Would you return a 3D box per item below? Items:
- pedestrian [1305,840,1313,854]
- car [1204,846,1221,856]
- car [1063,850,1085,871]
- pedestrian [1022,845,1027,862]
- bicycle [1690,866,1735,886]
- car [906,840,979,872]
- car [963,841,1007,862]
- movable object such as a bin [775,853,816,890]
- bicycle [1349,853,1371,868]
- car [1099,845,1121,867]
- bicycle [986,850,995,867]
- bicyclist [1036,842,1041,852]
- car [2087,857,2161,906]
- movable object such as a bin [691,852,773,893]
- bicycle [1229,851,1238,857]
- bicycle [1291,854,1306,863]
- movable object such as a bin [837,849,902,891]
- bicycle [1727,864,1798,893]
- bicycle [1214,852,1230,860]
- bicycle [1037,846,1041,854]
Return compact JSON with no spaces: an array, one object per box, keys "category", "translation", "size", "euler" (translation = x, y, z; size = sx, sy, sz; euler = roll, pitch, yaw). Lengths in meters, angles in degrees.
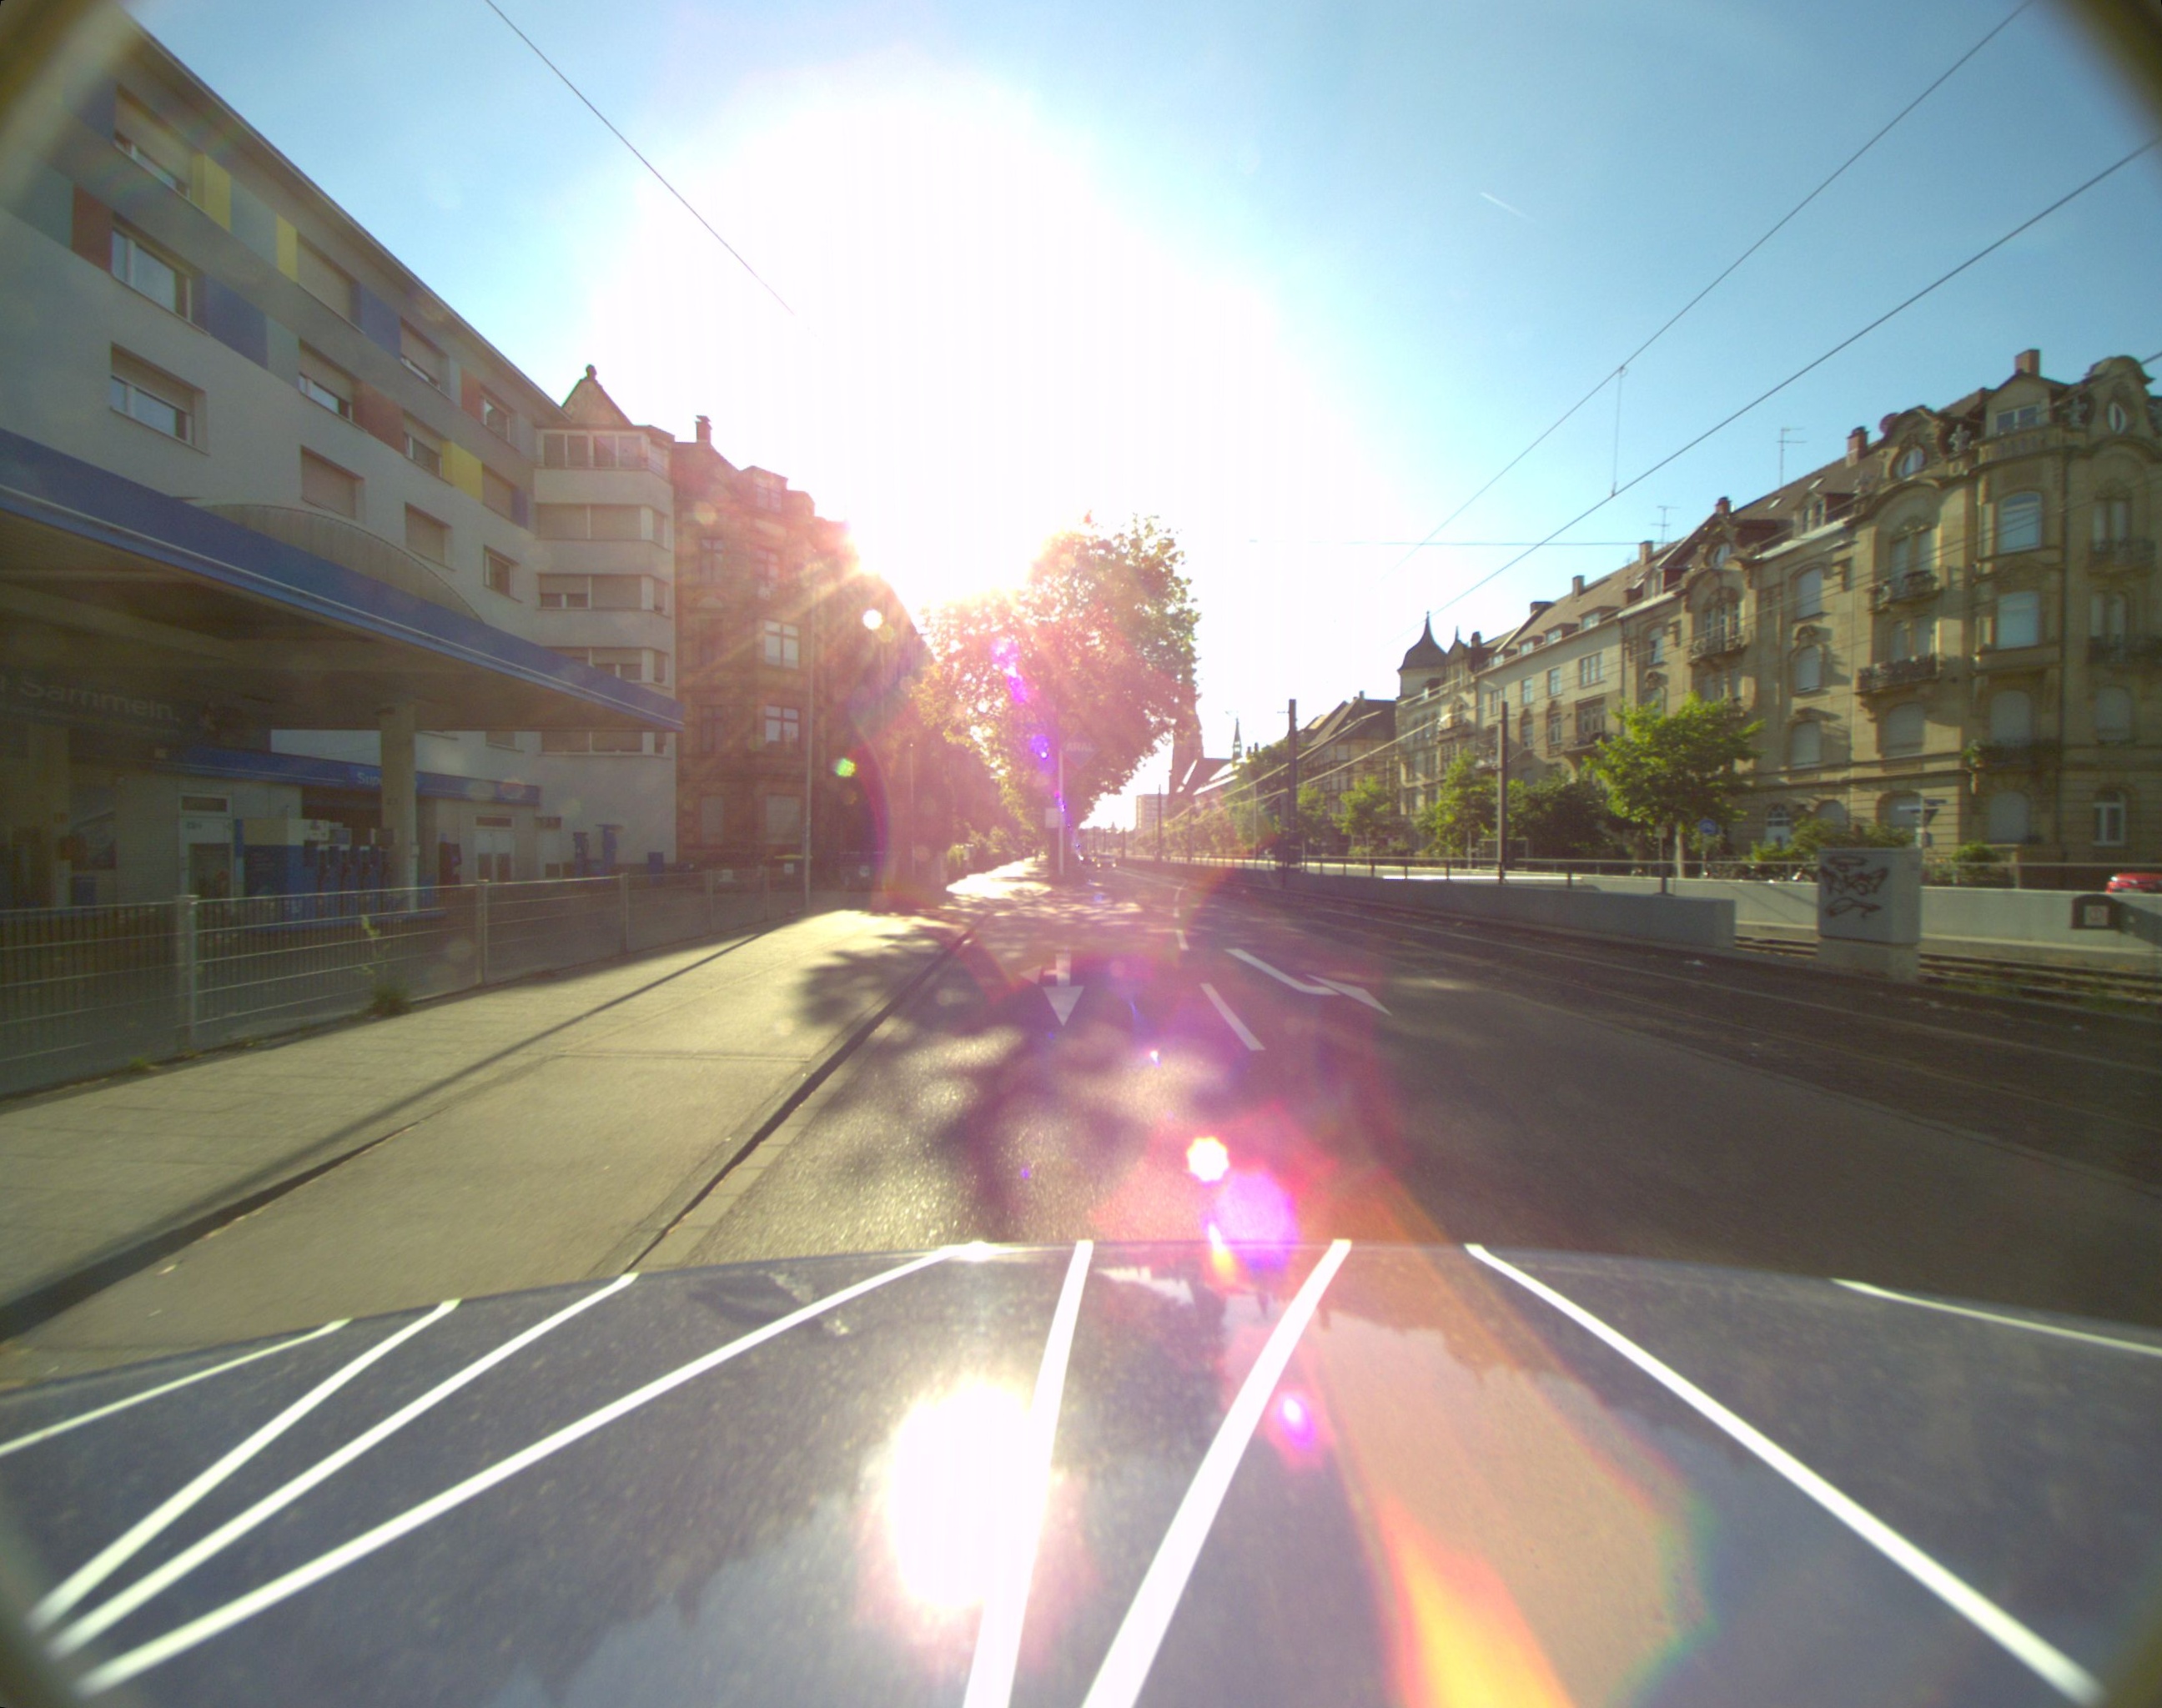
[{"category":"pedestrian","translation":[28.847,-0.883,96.007],"size":[0.720,1.679,0.864],"euler":[-2,1,4]},{"category":"car","translation":[21.545,-0.504,124.469],"size":[1.837,1.576,3.998],"euler":[-3,1,-4]},{"category":"car","translation":[-0.572,0.476,59.152],"size":[1.556,1.490,4.048],"euler":[1,1,-3]},{"category":"pedestrian","translation":[-7.047,-0.059,94.739],"size":[0.674,2.002,0.633],"euler":[0,1,-2]},{"category":"bicycle","translation":[28.267,0.966,34.036],"size":[0.417,0.795,1.887],"euler":[-3,1,1]},{"category":"car","translation":[-9.230,0.120,50.891],"size":[4.585,2.002,1.914],"euler":[2,1,-2]},{"category":"car","translation":[-9.795,-0.264,77.785],"size":[4.188,2.002,1.999],"euler":[2,1,-4]},{"category":"movable object such as a bin","translation":[-10.735,0.646,28.602],"size":[1.189,1.381,1.028],"euler":[0,1,-4]},{"category":"bicycle","translation":[23.866,0.530,65.021],"size":[1.734,1.272,0.599],"euler":[0,1,4]},{"category":"car","translation":[2.650,0.145,68.597],"size":[1.823,1.729,4.000],"euler":[-5,1,3]},{"category":"bicycle","translation":[-6.818,0.357,57.336],"size":[0.338,1.243,1.767],"euler":[-3,1,2]},{"category":"bicyclist","translation":[-6.217,-1.000,111.494],"size":[0.544,1.372,0.644],"euler":[-3,0,-4]},{"category":"car","translation":[36.370,0.887,25.116],"size":[3.998,1.560,1.819],"euler":[0,1,-3]},{"category":"movable object such as a bin","translation":[-12.658,0.644,27.674],"size":[2.215,1.415,1.777],"euler":[0,1,-6]},{"category":"bicycle","translation":[22.346,-0.015,111.612],"size":[1.271,0.900,0.538],"euler":[-3,1,-32]},{"category":"bicycle","translation":[26.283,0.567,91.843],"size":[0.456,1.000,1.938],"euler":[-3,4,-33]},{"category":"movable object such as a bin","translation":[-7.875,0.573,28.451],"size":[2.041,1.482,1.745],"euler":[0,1,-6]},{"category":"bicycle","translation":[25.194,0.889,28.115],"size":[0.487,1.016,1.889],"euler":[-3,1,-26]},{"category":"bicycle","translation":[21.646,0.302,116.681],"size":[2.791,1.092,0.641],"euler":[-3,1,-34]},{"category":"bicycle","translation":[-6.193,-0.589,111.478],"size":[0.562,1.171,2.225],"euler":[-3,-1,-4]}]
